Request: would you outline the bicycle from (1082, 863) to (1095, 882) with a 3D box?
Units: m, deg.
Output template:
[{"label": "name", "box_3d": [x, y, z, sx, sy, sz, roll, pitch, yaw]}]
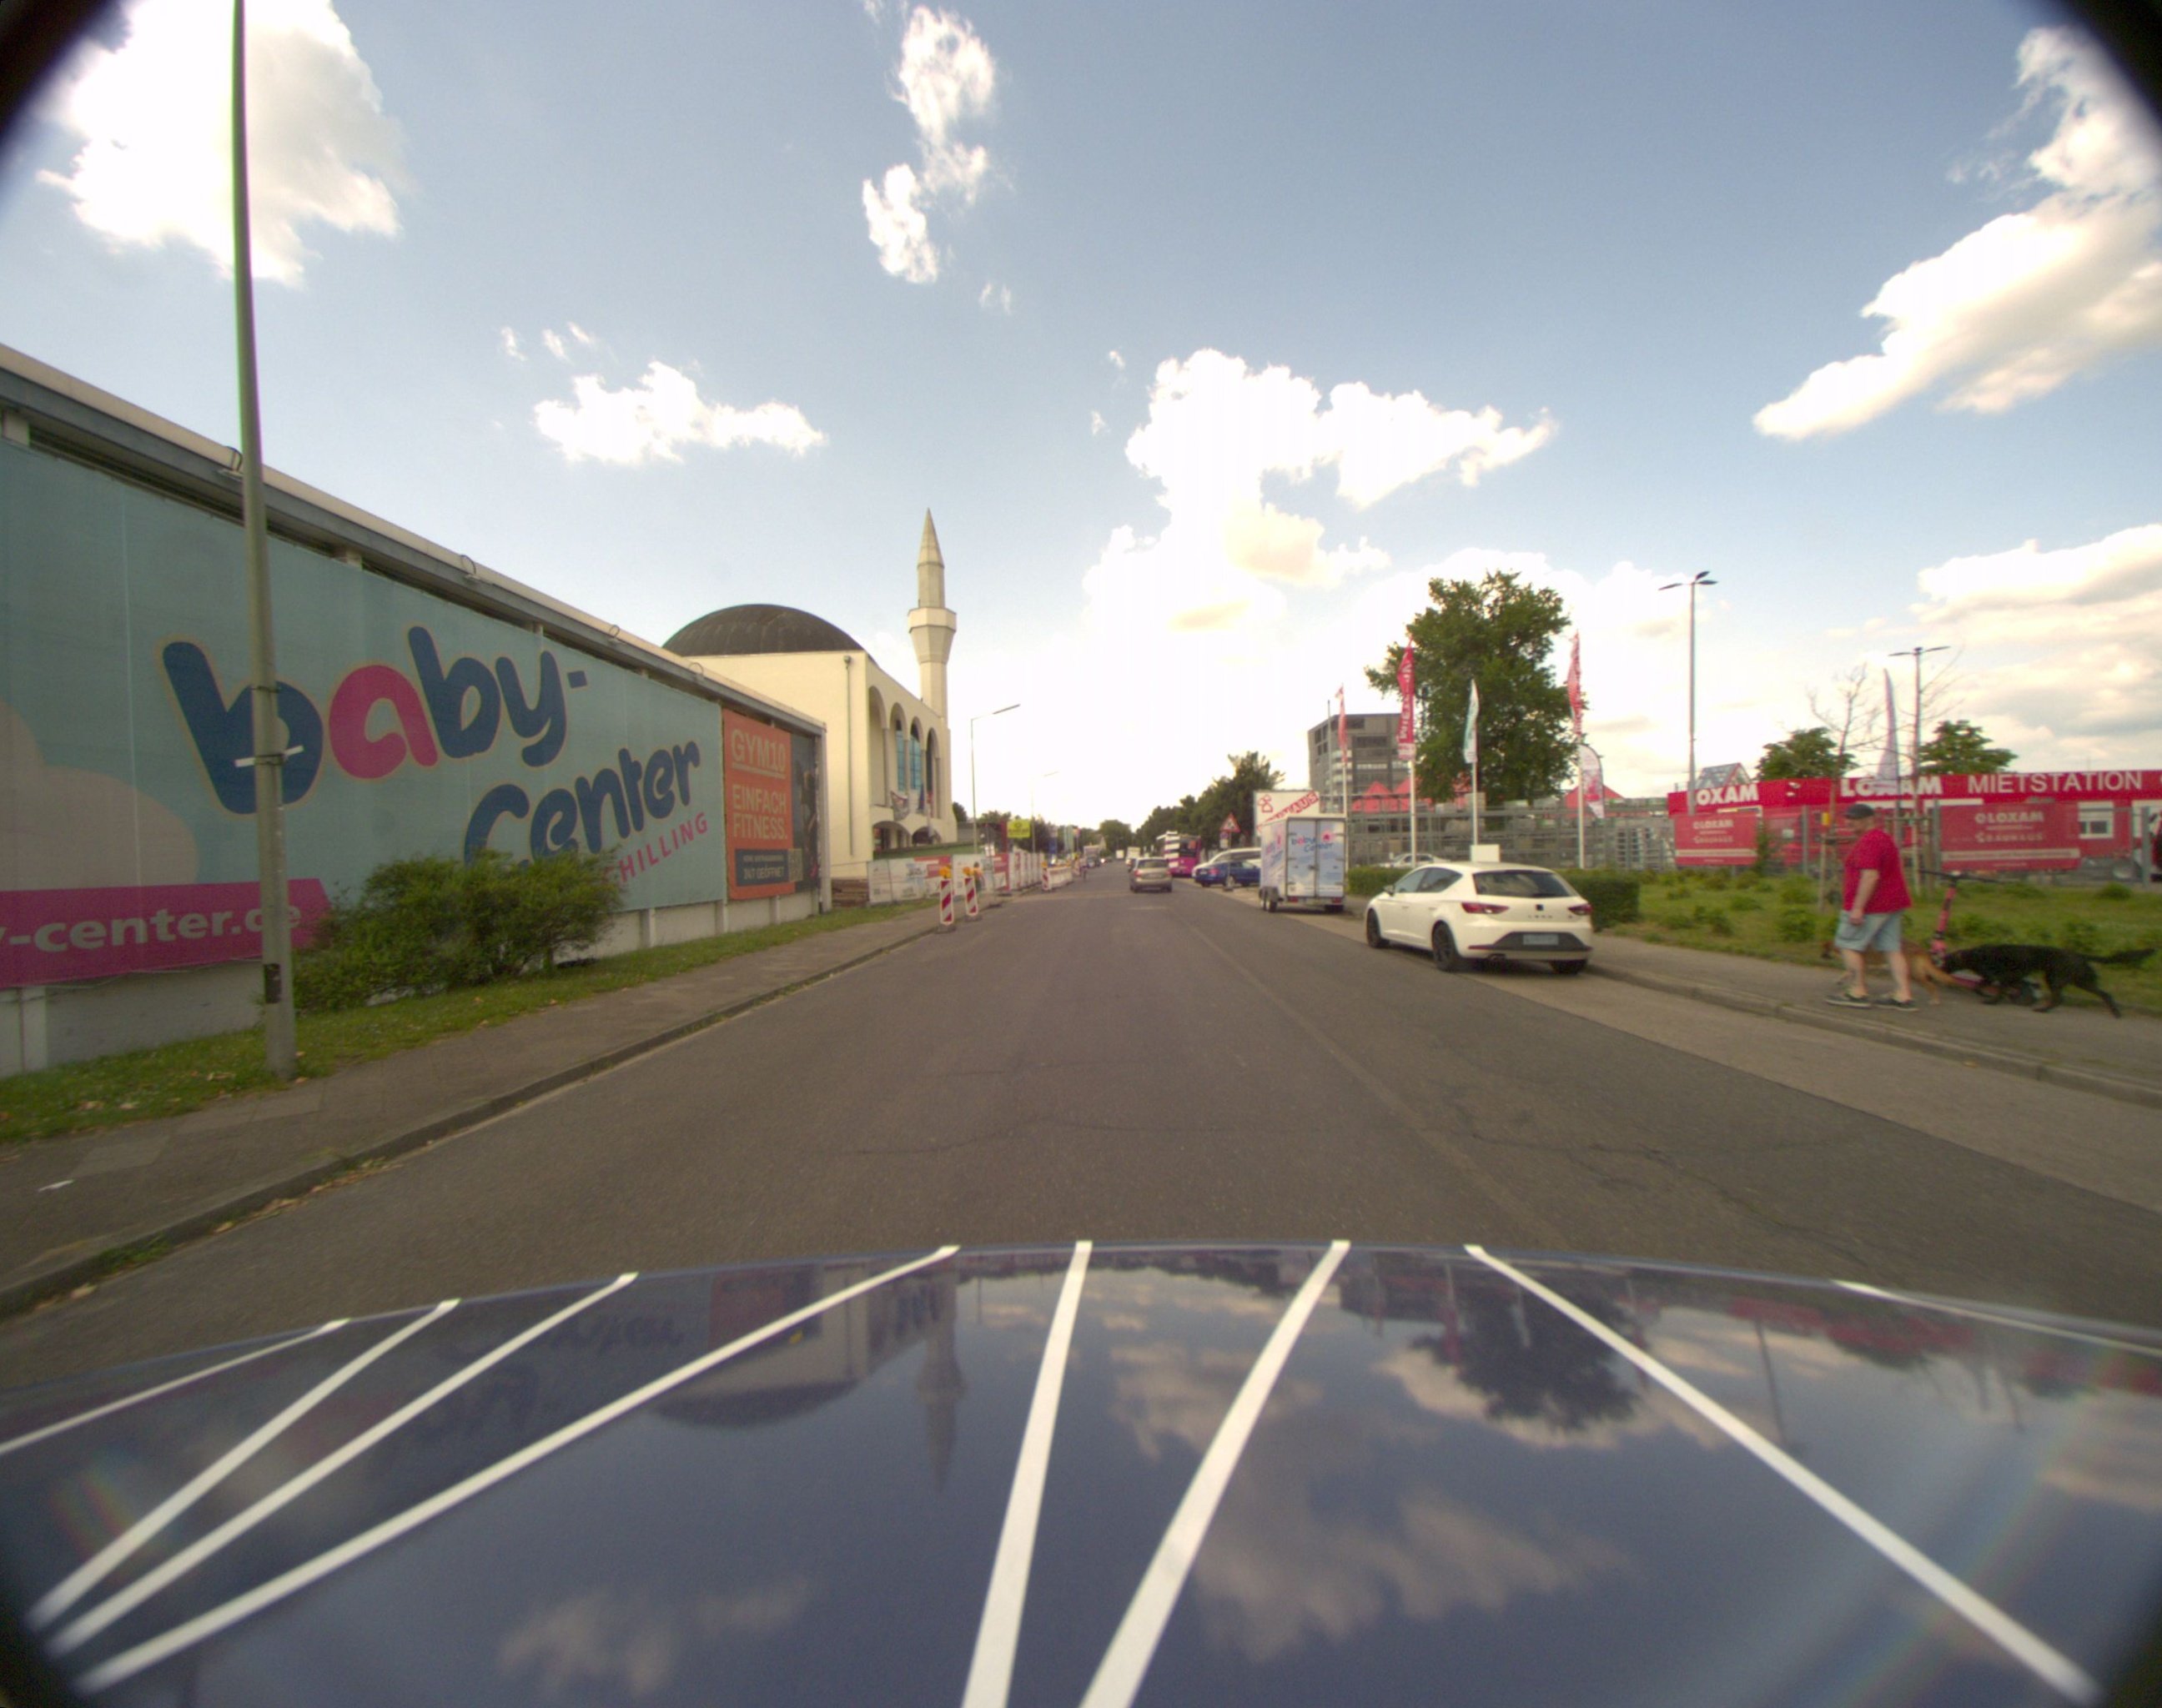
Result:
[{"label": "bicycle", "box_3d": [0.508, 1.279, 52.939, 0.800, 1.173, 2.627, -3, 0, 2]}]

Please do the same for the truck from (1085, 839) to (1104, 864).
[{"label": "truck", "box_3d": [2.391, -0.375, 133.830, 2.785, 4.092, 8.280, -4, 0, 2]}]

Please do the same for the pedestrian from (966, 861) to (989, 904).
[{"label": "pedestrian", "box_3d": [-3.867, 1.053, 28.506, 0.683, 1.525, 1.130, -2, 1, 0]}]

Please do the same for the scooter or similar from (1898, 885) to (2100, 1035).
[{"label": "scooter or similar", "box_3d": [8.419, 0.921, 7.040, 0.518, 1.186, 1.281, -2, 1, 14]}]

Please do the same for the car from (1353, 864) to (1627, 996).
[{"label": "car", "box_3d": [5.584, 0.924, 11.085, 1.769, 1.470, 4.235, 1, 0, 1]}]

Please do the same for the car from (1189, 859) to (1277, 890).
[{"label": "car", "box_3d": [7.819, 1.015, 39.000, 4.387, 1.369, 1.924, -1, 0, -35]}]

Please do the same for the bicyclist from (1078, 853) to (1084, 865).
[{"label": "bicyclist", "box_3d": [-0.041, 0.747, 123.863, 0.796, 1.899, 0.829, 2, 1, 4]}]

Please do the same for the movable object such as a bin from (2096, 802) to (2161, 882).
[{"label": "movable object such as a bin", "box_3d": [31.391, -0.357, 20.985, 1.998, 2.262, 3.546, -2, 0, 3]}]

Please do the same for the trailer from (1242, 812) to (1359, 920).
[{"label": "trailer", "box_3d": [6.146, 0.312, 21.913, 2.144, 2.767, 4.703, 1, 0, 2]}]

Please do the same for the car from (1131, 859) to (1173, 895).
[{"label": "car", "box_3d": [3.065, 0.957, 33.395, 1.594, 1.456, 3.762, 0, 0, 2]}]

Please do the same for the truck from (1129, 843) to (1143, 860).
[{"label": "truck", "box_3d": [12.529, -0.544, 173.318, 2.754, 3.701, 7.171, 0, 1, 2]}]

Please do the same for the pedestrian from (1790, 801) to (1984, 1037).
[{"label": "pedestrian", "box_3d": [7.286, 0.555, 6.921, 0.811, 2.002, 0.885, -2, 1, 2]}]

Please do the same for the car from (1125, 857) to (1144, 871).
[{"label": "car", "box_3d": [5.392, 0.988, 76.979, 1.800, 1.450, 4.386, 0, 0, 4]}]

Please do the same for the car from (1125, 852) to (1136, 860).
[{"label": "car", "box_3d": [8.567, 0.338, 131.901, 1.687, 1.461, 3.612, 0, 0, 2]}]

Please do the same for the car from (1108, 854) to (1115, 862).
[{"label": "car", "box_3d": [8.092, 1.069, 203.974, 1.797, 1.881, 4.000, -1, 0, 2]}]

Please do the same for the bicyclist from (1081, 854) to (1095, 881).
[{"label": "bicyclist", "box_3d": [0.498, 0.917, 52.928, 0.808, 1.782, 1.207, -3, 1, 2]}]

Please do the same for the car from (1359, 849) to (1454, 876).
[{"label": "car", "box_3d": [18.960, 0.478, 44.432, 4.694, 1.445, 1.955, -2, 0, 4]}]

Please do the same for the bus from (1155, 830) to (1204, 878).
[{"label": "bus", "box_3d": [7.698, -0.013, 61.203, 2.669, 3.403, 13.220, 2, 0, 2]}]

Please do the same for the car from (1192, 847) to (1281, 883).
[{"label": "car", "box_3d": [9.193, 0.654, 45.268, 5.010, 1.938, 1.993, -2, 0, 8]}]

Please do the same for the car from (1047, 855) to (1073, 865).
[{"label": "car", "box_3d": [-3.183, 0.902, 114.865, 3.962, 1.402, 1.796, 0, 0, -1]}]

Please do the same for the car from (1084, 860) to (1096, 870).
[{"label": "car", "box_3d": [1.465, 1.705, 120.552, 1.665, 1.332, 3.985, -5, 0, 2]}]
